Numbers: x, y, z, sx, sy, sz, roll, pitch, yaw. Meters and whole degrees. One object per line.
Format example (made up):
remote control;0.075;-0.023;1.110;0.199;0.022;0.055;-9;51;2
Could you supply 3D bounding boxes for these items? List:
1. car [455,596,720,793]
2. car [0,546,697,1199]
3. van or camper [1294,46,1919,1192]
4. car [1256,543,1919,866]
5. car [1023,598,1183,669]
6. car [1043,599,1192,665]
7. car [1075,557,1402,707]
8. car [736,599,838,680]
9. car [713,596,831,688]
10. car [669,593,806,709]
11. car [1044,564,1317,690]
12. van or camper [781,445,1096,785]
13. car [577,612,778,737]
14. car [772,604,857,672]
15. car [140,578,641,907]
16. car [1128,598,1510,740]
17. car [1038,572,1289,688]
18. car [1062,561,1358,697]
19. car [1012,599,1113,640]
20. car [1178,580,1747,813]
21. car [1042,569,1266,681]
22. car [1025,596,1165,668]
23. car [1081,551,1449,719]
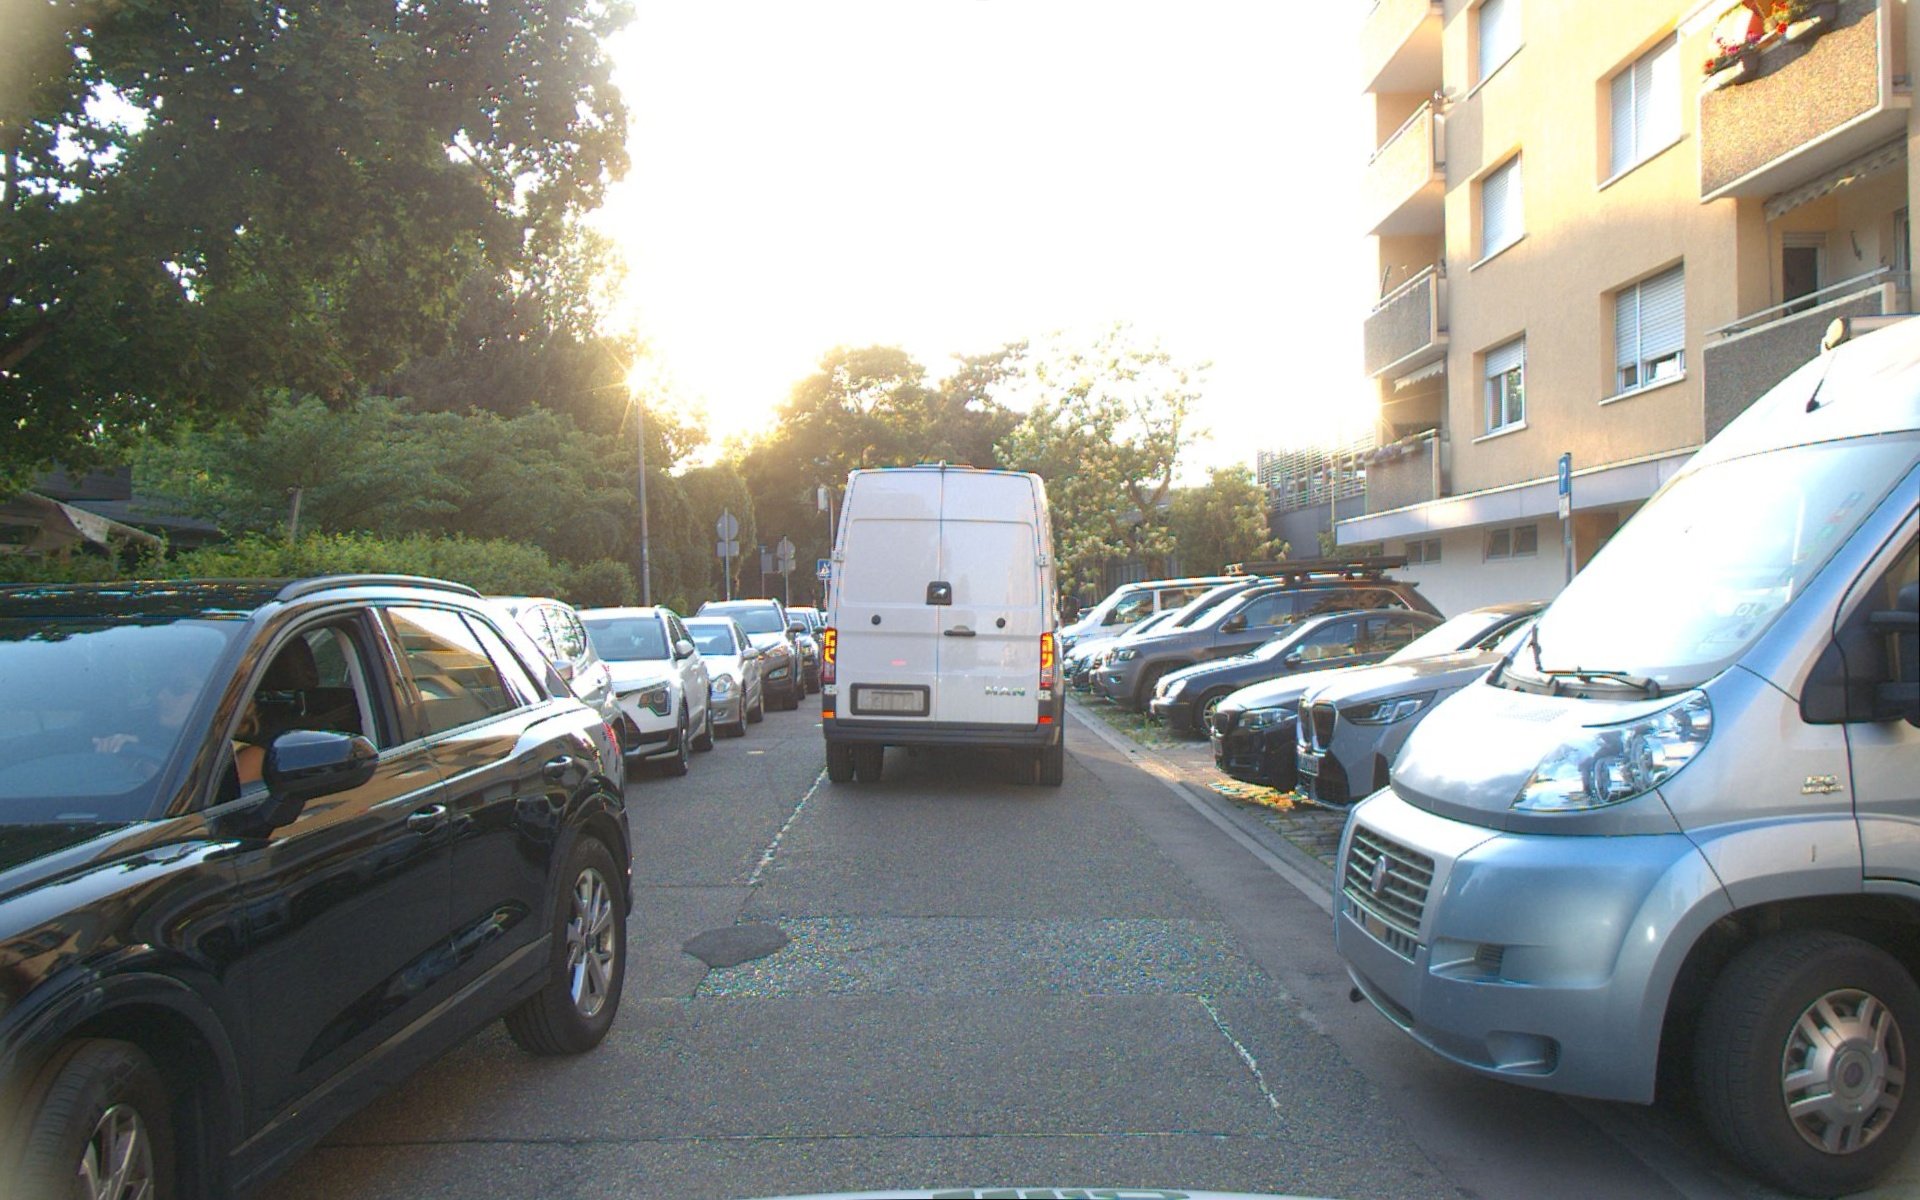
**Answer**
car;-3.444;0.804;16.025;1.819;1.582;4.096;-2;0;-4
car;-2.178;0.740;4.296;1.766;1.597;4.568;-1;0;6
van or camper;4.178;0.056;5.234;5.809;2.818;2.109;0;0;-2
car;4.304;0.583;10.689;4.350;1.758;1.770;-2;0;-7
car;3.615;0.849;42.321;3.905;1.758;2.000;0;0;-1
car;4.273;0.868;45.371;3.905;1.758;2.000;0;0;-1
car;4.148;0.462;25.175;4.611;2.183;1.999;0;0;-3
car;-3.685;0.811;35.862;1.953;1.646;3.998;0;0;-3
car;-3.511;0.760;31.553;1.953;1.646;3.998;0;0;-3
car;-3.462;0.753;26.346;1.955;1.691;3.996;0;0;-5
car;3.900;0.467;29.830;4.611;2.183;1.999;0;0;-3
van or camper;-0.059;0.117;15.870;2.403;2.591;6.084;1;0;2
car;-3.481;0.874;21.084;1.953;1.422;3.999;0;0;-1
car;-3.607;0.914;41.582;1.953;1.646;3.998;0;0;-3
car;-3.415;0.766;10.797;1.746;1.659;4.000;-3;0;1
car;4.215;0.794;19.849;4.151;1.450;1.719;-2;0;-2
car;3.900;0.571;32.276;4.611;2.183;1.999;0;0;-3
car;4.097;0.466;27.602;4.611;2.183;1.999;0;0;-3
car;4.159;0.790;67.645;3.909;1.646;1.998;0;0;-5
car;3.899;0.708;13.243;3.910;1.479;1.833;-4;0;-5
car;3.986;0.512;34.463;4.405;2.269;2.031;0;0;-2
car;3.838;0.903;47.684;3.905;2.049;2.000;0;0;1
car;4.054;0.456;22.517;4.611;2.183;1.999;0;0;-3
